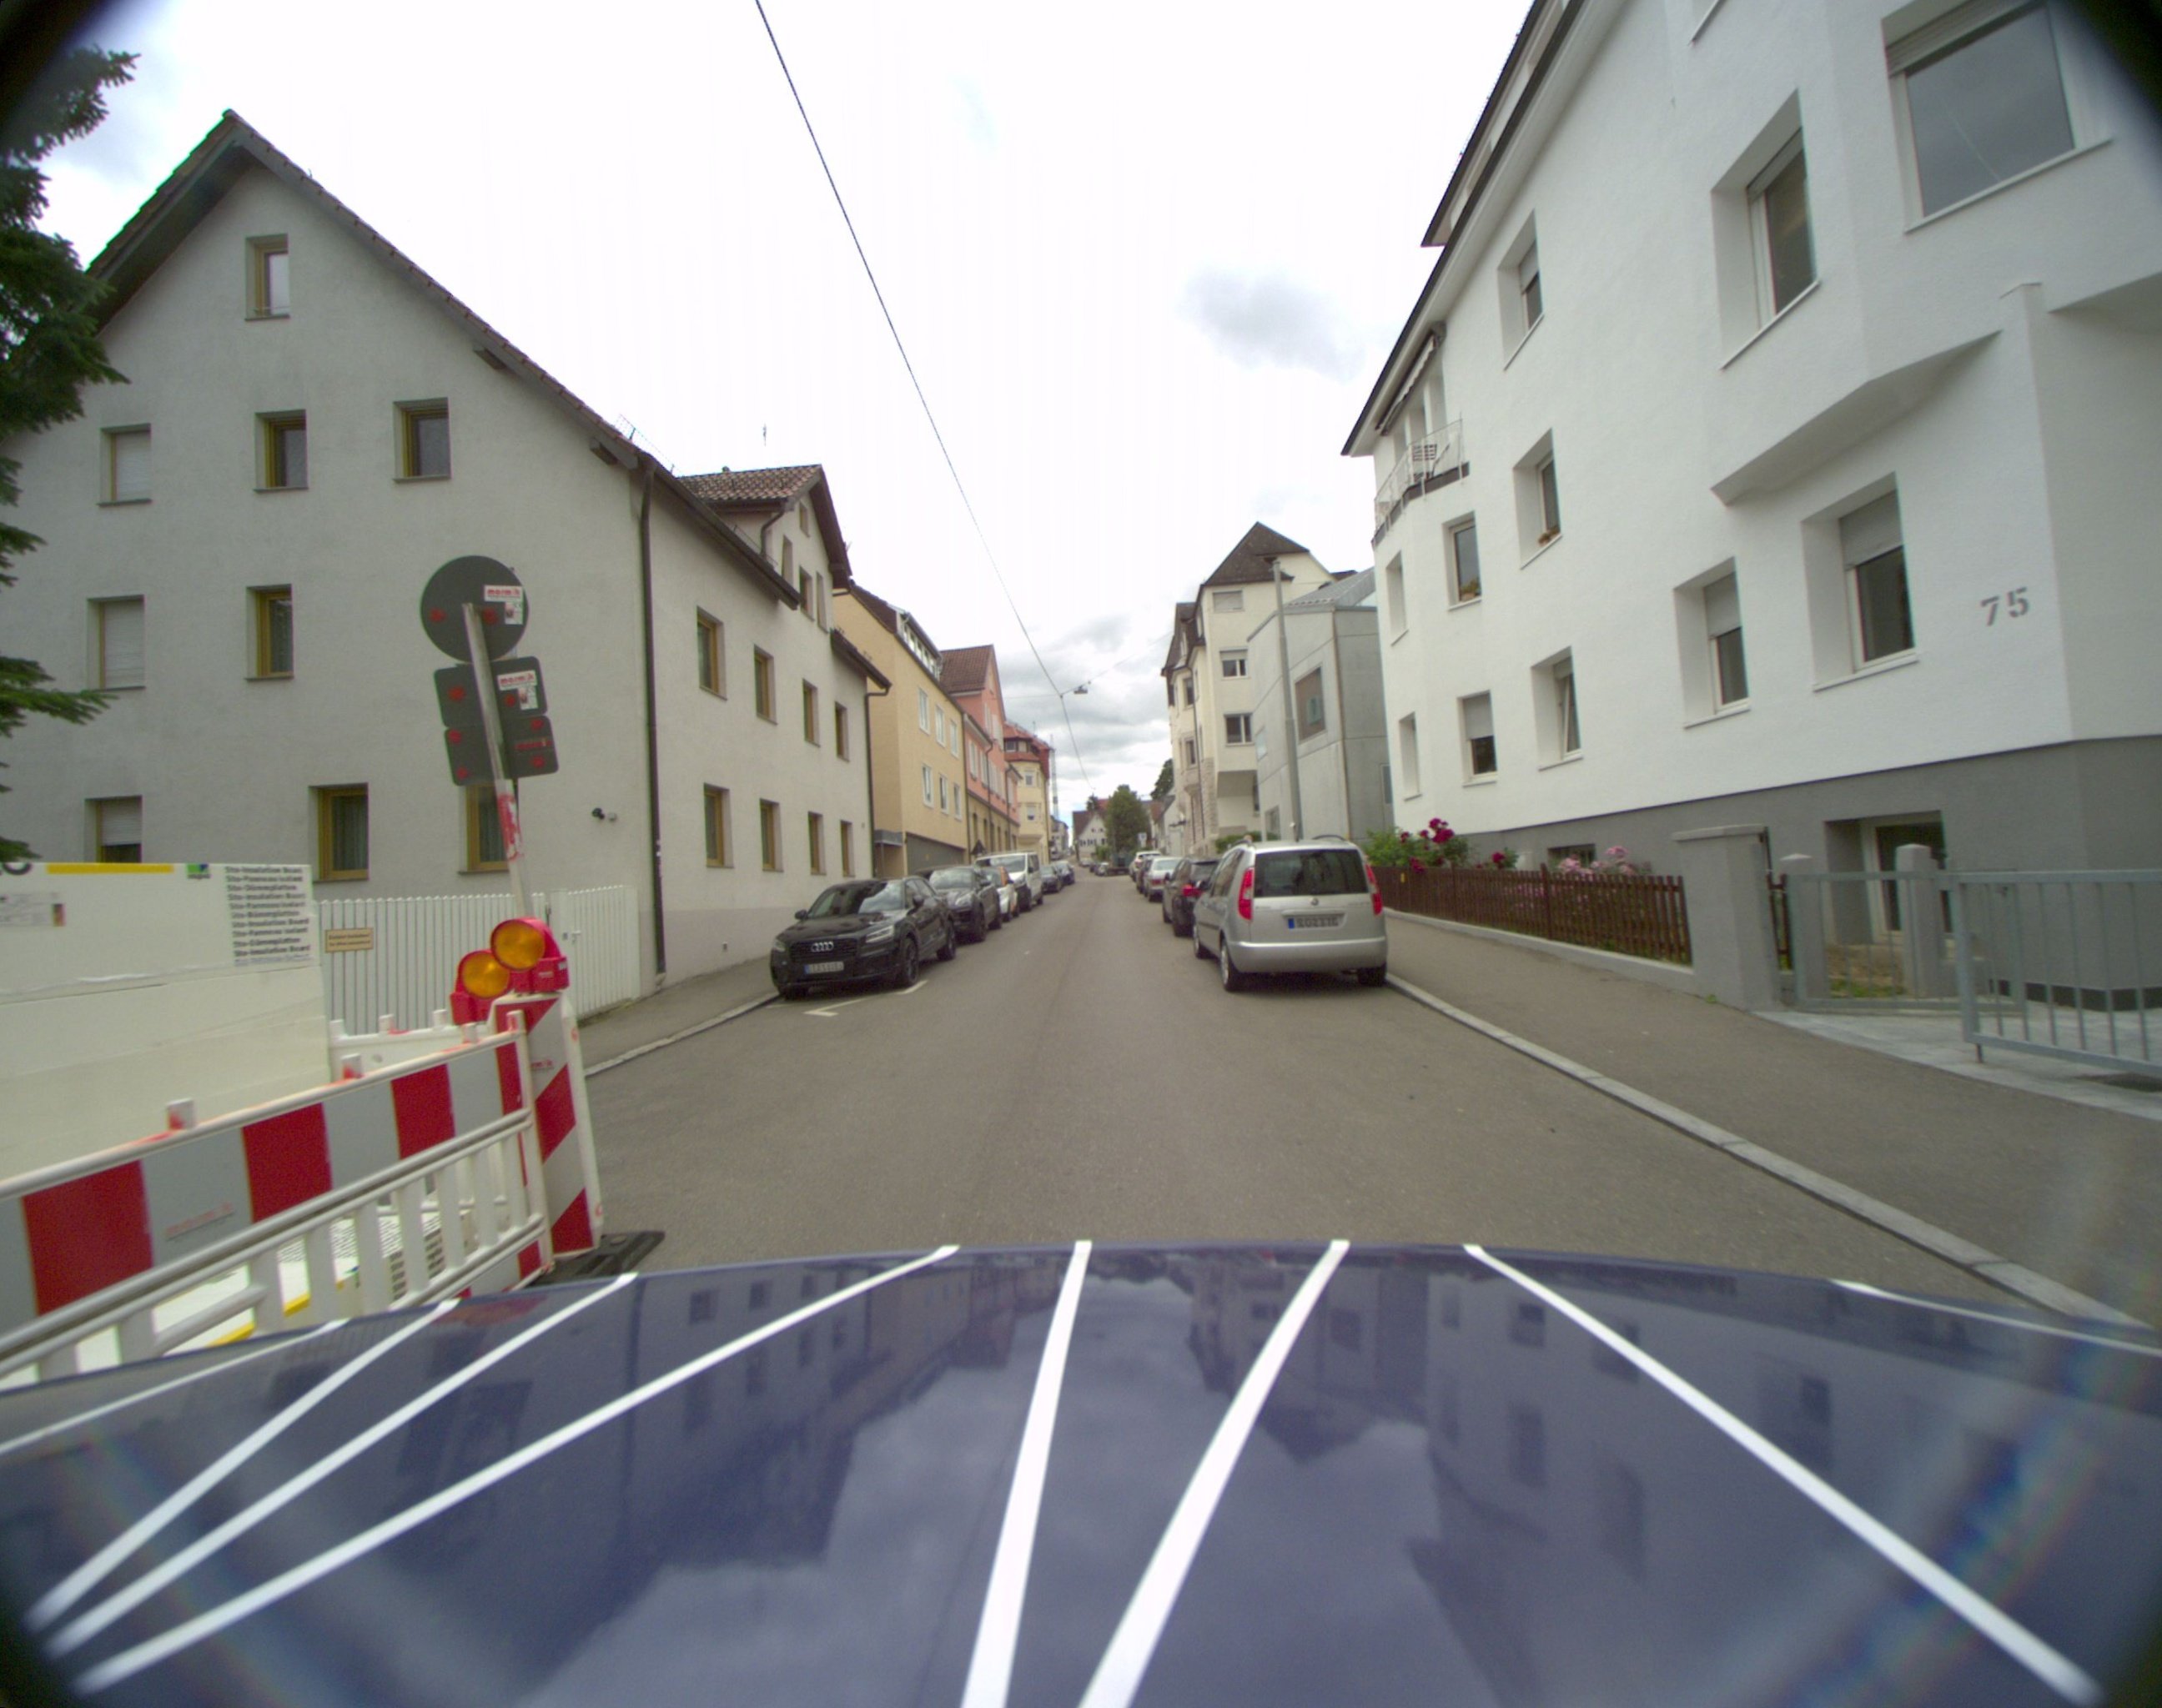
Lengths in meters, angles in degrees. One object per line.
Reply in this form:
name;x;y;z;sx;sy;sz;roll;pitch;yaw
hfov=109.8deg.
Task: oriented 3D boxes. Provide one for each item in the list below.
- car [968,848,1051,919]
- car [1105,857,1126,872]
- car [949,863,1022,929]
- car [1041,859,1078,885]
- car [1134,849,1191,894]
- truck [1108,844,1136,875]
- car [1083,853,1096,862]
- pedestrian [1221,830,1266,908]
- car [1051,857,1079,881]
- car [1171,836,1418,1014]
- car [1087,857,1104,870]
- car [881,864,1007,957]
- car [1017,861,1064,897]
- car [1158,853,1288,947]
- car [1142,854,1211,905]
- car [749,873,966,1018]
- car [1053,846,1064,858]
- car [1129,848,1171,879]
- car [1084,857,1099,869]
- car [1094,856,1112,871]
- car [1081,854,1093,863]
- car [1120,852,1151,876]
car;-2.321;0.920;26.196;1.910;2.018;5.734;-5;0;2
car;3.676;1.162;81.184;1.855;1.454;3.946;-2;-1;-2
car;-2.596;1.098;21.130;1.490;1.587;2.791;-5;0;1
car;-1.280;1.093;46.969;1.857;1.395;4.293;-5;0;3
car;3.204;0.648;30.642;1.900;1.518;4.471;-3;1;3
truck;3.677;0.545;69.788;2.316;2.536;6.291;-2;-2;1
car;1.460;0.561;130.340;1.855;1.441;3.945;-2;0;-4
pedestrian;4.047;0.362;18.885;0.817;1.873;0.848;-3;0;25
car;-1.060;1.019;52.859;1.671;1.470;3.626;-3;0;2
car;2.323;0.704;9.510;1.849;1.621;4.287;-3;0;1
car;1.928;1.315;101.283;1.855;1.641;3.945;-2;0;-4
car;-2.805;1.097;16.638;1.717;1.587;4.499;-5;0;1
car;-1.937;1.191;37.632;1.857;1.395;4.575;-7;1;1
car;2.585;0.762;14.874;1.849;1.449;4.505;-3;0;3
car;3.097;0.764;25.520;1.849;1.405;5.062;-3;0;3
car;-3.056;1.178;11.352;1.719;1.556;4.074;-5;0;3
car;-5.266;-0.555;174.618;2.194;2.630;5.824;-2;0;-4
car;3.720;0.527;41.641;1.849;1.506;4.241;-3;0;1
car;1.518;1.323;111.699;1.855;1.641;3.945;-2;0;-4
car;2.712;1.200;93.776;1.855;1.640;3.946;-2;-1;-2
car;1.120;0.870;136.216;1.855;1.441;3.943;-2;1;-4
car;3.549;0.660;50.104;1.703;1.405;4.241;-3;0;1
